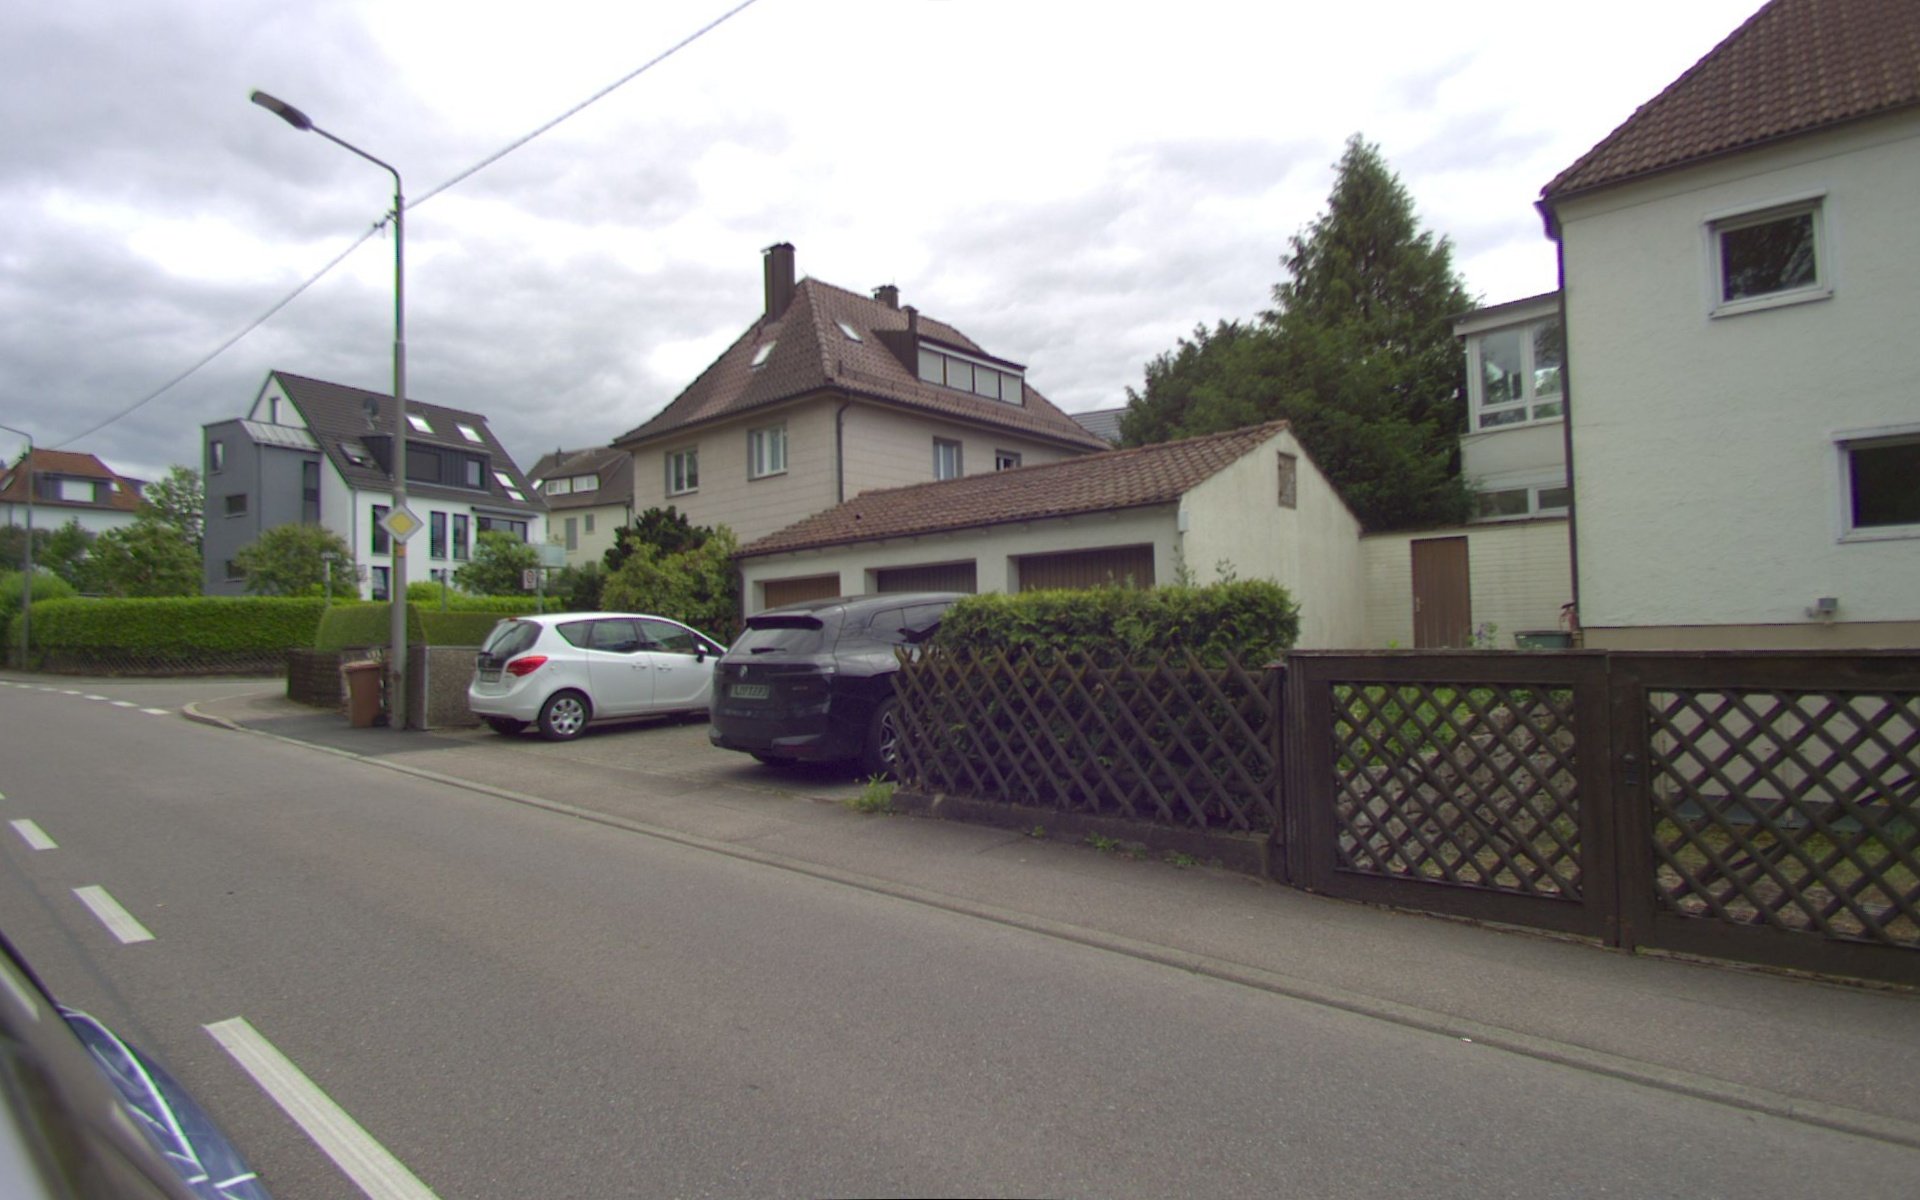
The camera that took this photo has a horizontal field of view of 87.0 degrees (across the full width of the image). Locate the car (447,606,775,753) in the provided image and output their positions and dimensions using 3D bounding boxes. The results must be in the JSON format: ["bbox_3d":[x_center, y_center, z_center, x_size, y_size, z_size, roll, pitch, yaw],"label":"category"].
[{"bbox_3d":[-4.691,0.974,14.039,1.718,1.606,3.946,-2,0,41],"label":"car"}]

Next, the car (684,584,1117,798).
[{"bbox_3d":[-0.373,0.741,10.675,1.881,1.682,4.624,-2,0,40],"label":"car"}]

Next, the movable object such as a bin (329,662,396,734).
[{"bbox_3d":[-8.496,1.373,14.401,0.572,0.961,0.680,-2,-2,42],"label":"movable object such as a bin"}]
